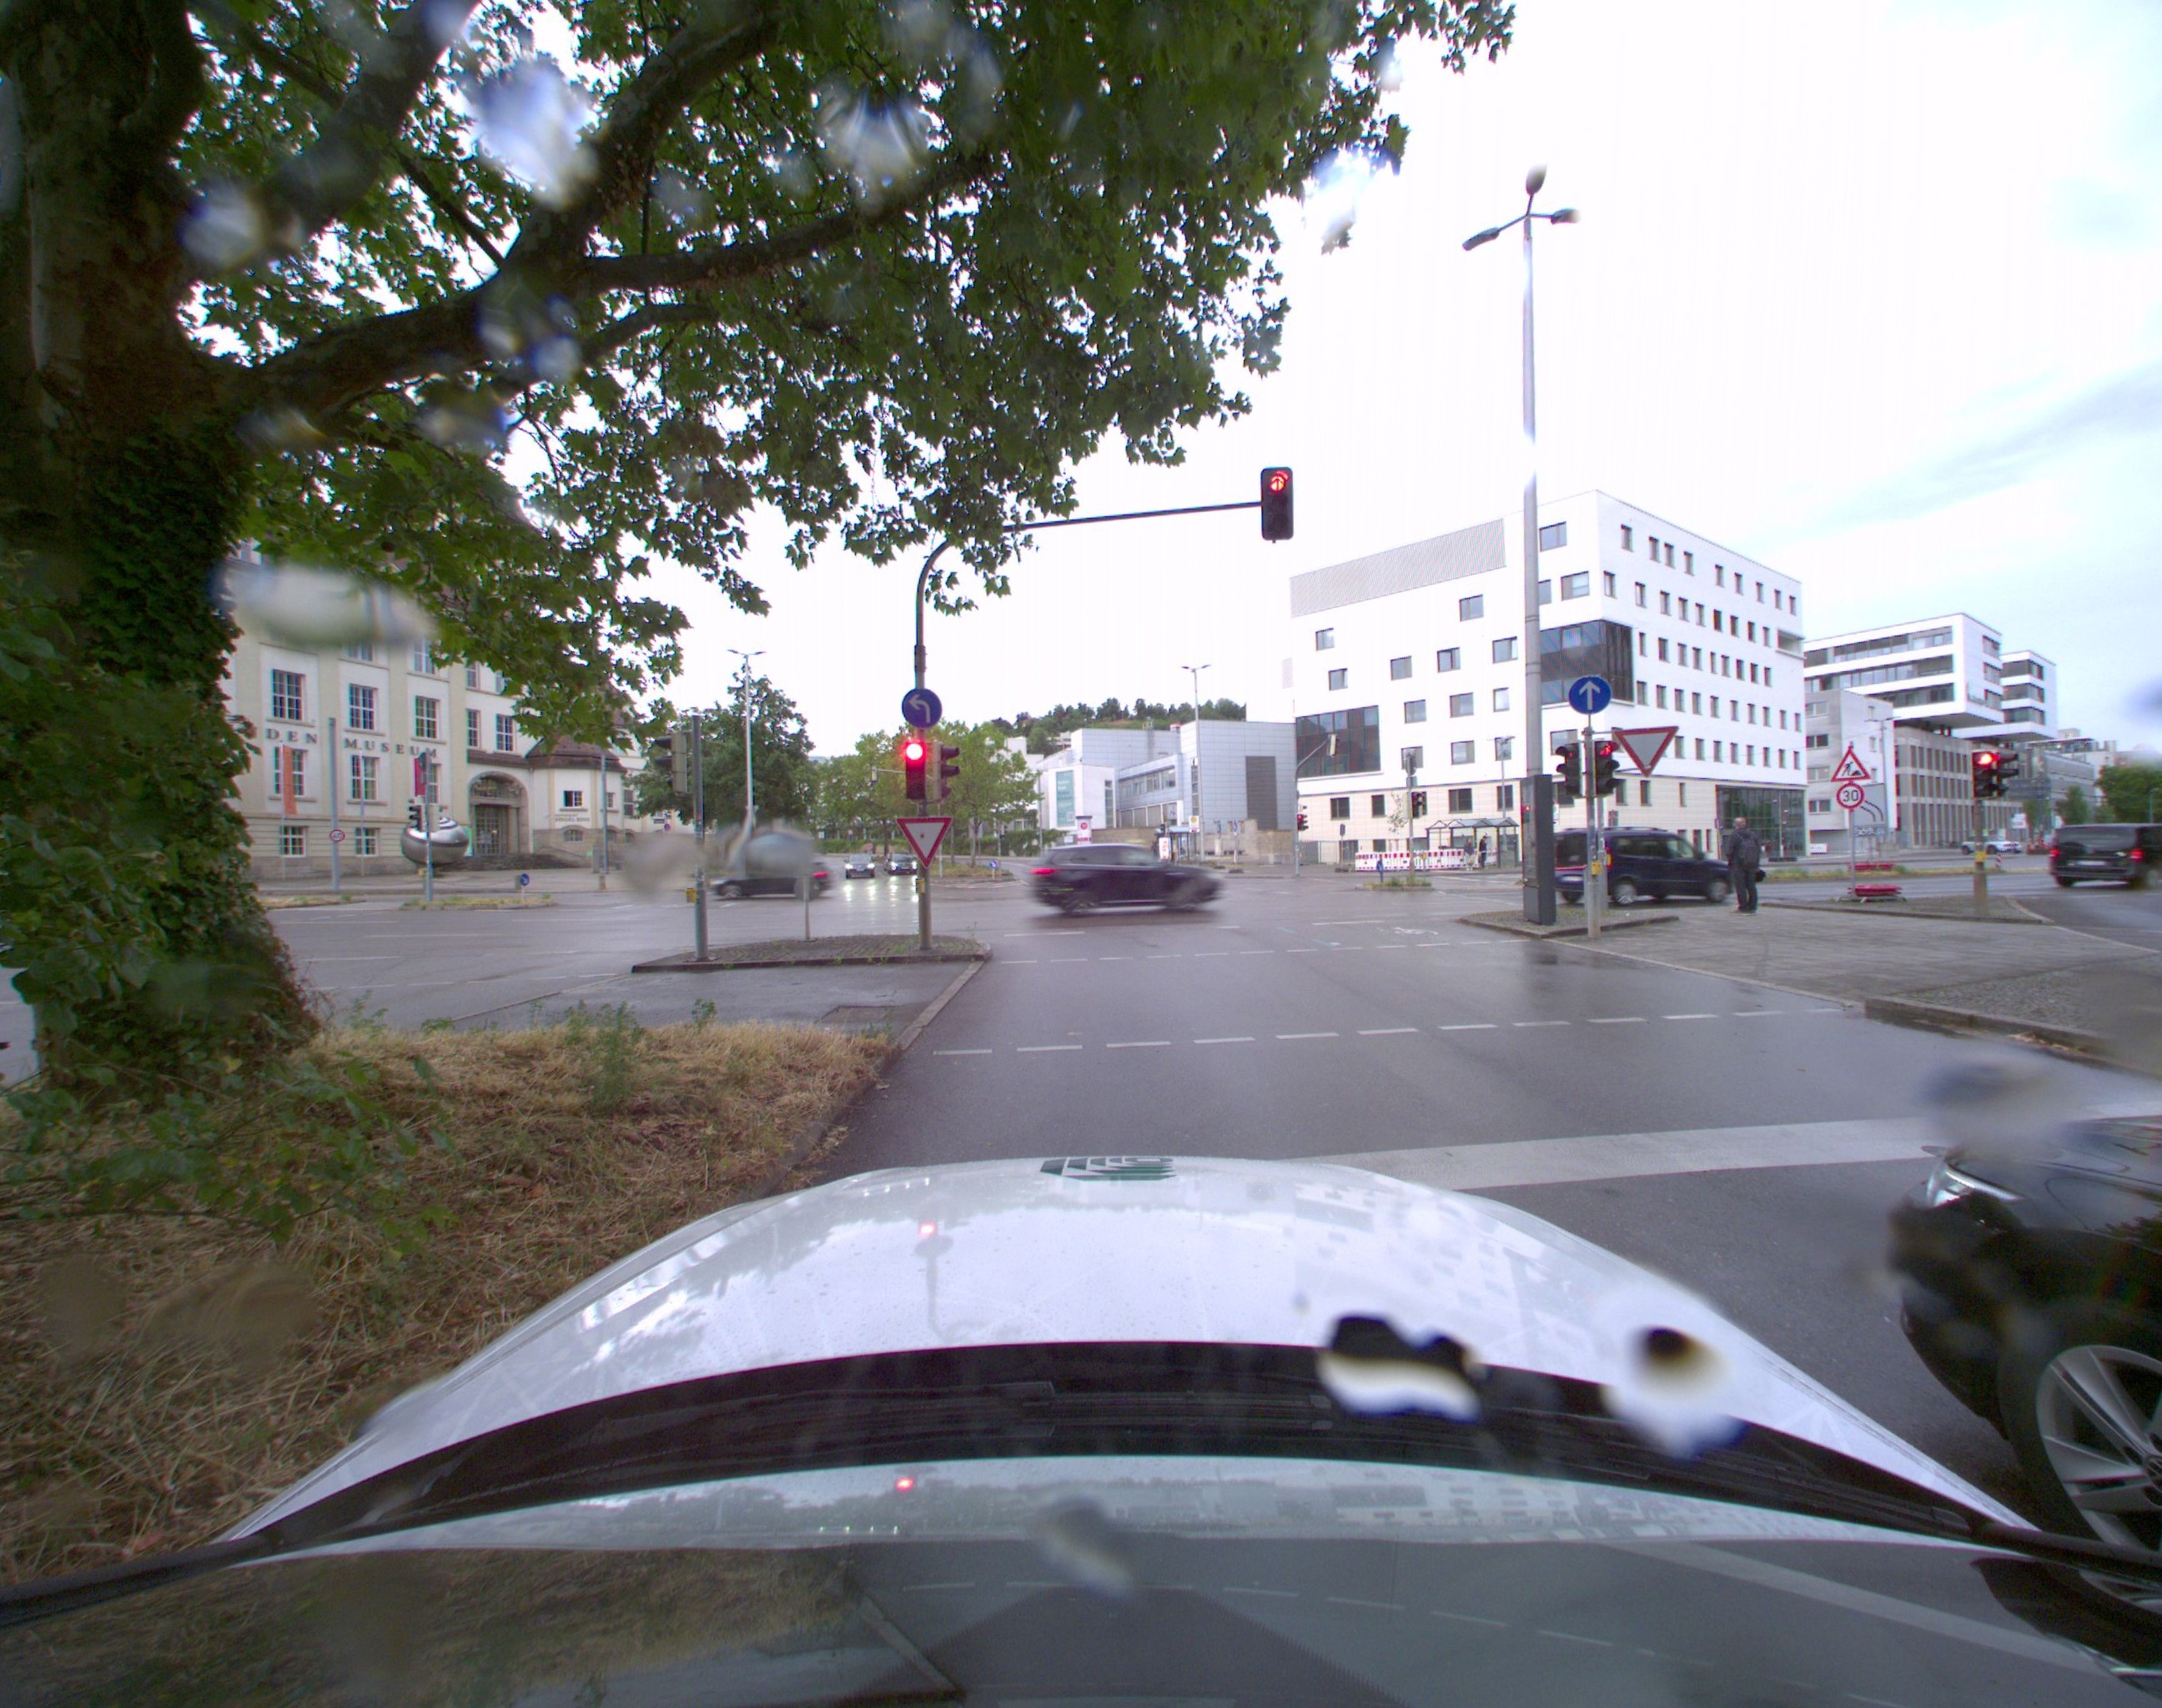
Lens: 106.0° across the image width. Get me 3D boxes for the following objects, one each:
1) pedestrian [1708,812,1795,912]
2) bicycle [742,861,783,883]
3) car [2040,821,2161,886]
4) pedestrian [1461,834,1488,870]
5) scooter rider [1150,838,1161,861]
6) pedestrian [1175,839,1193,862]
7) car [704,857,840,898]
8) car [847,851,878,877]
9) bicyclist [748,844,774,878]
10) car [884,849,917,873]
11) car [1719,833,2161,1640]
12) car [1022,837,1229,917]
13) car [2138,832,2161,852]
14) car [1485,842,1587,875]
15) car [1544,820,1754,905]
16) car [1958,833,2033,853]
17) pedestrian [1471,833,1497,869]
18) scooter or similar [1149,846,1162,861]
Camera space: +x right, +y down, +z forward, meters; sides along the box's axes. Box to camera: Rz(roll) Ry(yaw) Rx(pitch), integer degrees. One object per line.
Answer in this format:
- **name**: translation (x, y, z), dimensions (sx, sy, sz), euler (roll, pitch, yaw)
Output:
- **pedestrian**: translation (13.114, 0.162, 15.963), dimensions (0.826, 1.892, 1.025), euler (0, -1, -7)
- **bicycle**: translation (-15.496, 0.864, 39.660), dimensions (1.819, 1.056, 0.644), euler (-1, -1, -16)
- **car**: translation (31.466, -0.061, 24.269), dimensions (4.782, 1.809, 1.989), euler (-1, 0, -17)
- **pedestrian**: translation (20.219, -0.112, 41.848), dimensions (0.951, 1.840, 0.821), euler (0, -1, -10)
- **scooter rider**: translation (6.177, -0.360, 67.722), dimensions (0.725, 1.883, 0.628), euler (0, -1, -18)
- **pedestrian**: translation (7.795, -0.253, 61.523), dimensions (1.253, 1.719, 1.016), euler (0, -1, 0)
- **car**: translation (-11.581, 0.864, 30.803), dimensions (4.367, 1.378, 1.996), euler (-1, 0, -6)
- **car**: translation (-14.589, 0.638, 54.276), dimensions (1.871, 1.564, 4.254), euler (-2, 1, -15)
- **bicyclist**: translation (-15.571, 0.340, 39.660), dimensions (1.127, 1.633, 0.698), euler (0, -1, -16)
- **car**: translation (-12.901, 0.489, 58.187), dimensions (1.795, 1.584, 3.973), euler (-2, 1, -20)
- **car**: translation (2.784, 0.714, 0.268), dimensions (1.664, 1.466, 4.513), euler (-1, 1, 1)
- **car**: translation (1.030, 0.486, 19.596), dimensions (4.677, 1.705, 1.790), euler (-1, 1, -13)
- **car**: translation (84.931, -0.895, 63.819), dimensions (4.170, 1.537, 1.949), euler (0, 0, -29)
- **car**: translation (21.008, 0.213, 37.681), dimensions (3.991, 1.444, 1.790), euler (0, 0, -13)
- **car**: translation (13.955, 0.170, 20.080), dimensions (4.298, 1.908, 1.791), euler (-1, 1, -12)
- **car**: translation (75.868, -0.885, 67.653), dimensions (1.949, 1.557, 4.073), euler (0, 0, 8)
- **pedestrian**: translation (21.770, -0.138, 44.005), dimensions (0.995, 1.935, 0.957), euler (0, -1, 11)
- **scooter or similar**: translation (6.172, -0.016, 67.708), dimensions (0.593, 1.239, 1.305), euler (1, -1, -19)
